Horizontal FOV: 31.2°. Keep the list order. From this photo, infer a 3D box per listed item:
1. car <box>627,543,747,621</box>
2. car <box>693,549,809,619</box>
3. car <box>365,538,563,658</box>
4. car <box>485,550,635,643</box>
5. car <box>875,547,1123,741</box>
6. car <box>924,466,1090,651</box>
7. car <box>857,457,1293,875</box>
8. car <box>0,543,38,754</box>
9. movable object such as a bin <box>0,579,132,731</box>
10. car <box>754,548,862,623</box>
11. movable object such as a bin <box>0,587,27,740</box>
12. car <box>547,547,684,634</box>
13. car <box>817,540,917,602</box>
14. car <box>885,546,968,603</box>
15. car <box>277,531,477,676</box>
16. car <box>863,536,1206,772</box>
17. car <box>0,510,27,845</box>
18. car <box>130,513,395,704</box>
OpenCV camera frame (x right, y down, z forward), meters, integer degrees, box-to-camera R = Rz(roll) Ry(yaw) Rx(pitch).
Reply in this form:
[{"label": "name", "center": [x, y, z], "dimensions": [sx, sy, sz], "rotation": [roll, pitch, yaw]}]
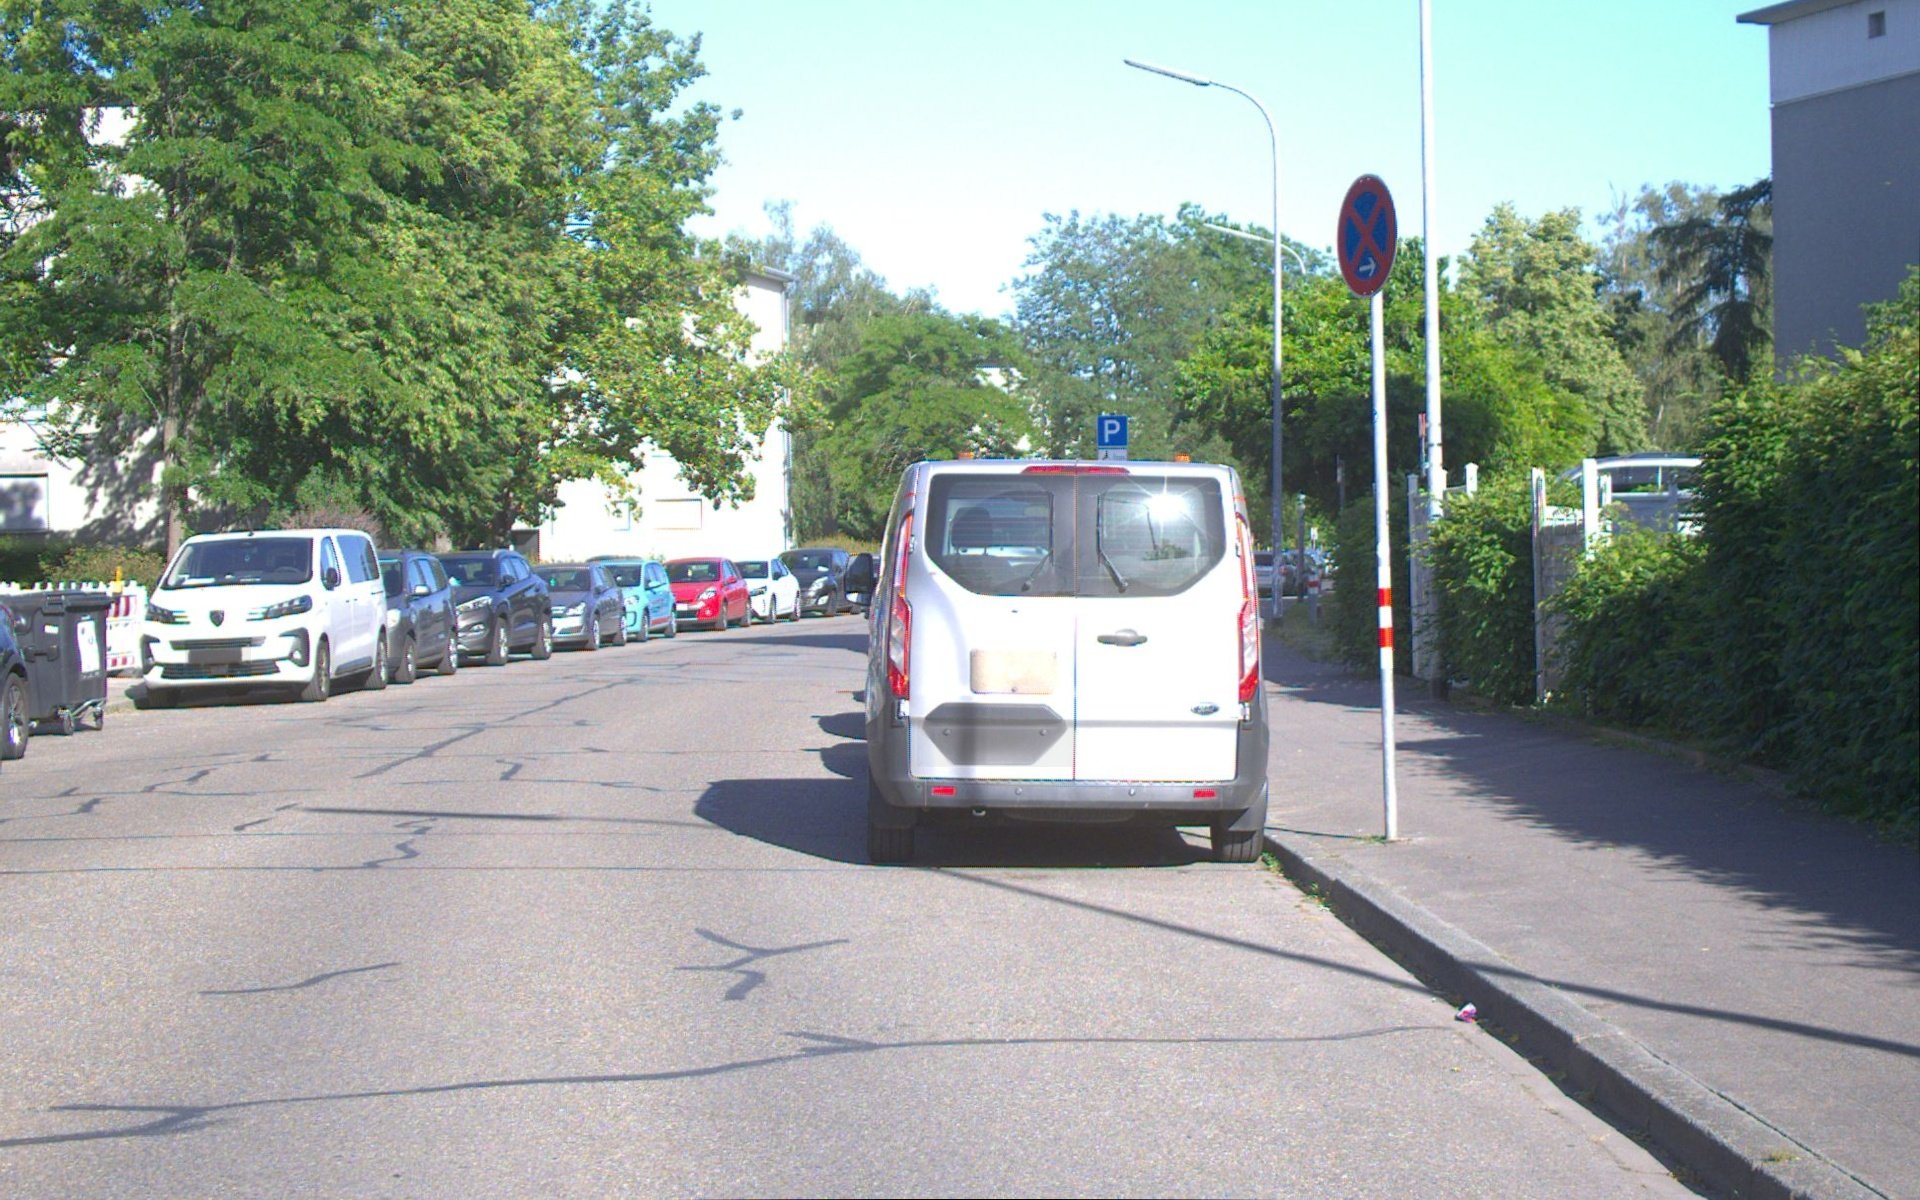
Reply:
[{"label": "car", "center": [-5.435, -0.378, 68.764], "dimensions": [1.671, 1.469, 3.677], "rotation": [-2, 1, 7]}, {"label": "car", "center": [-4.495, -0.368, 74.505], "dimensions": [1.671, 1.416, 3.900], "rotation": [-2, 1, 9]}, {"label": "car", "center": [-7.085, -0.066, 49.499], "dimensions": [1.748, 1.612, 4.362], "rotation": [-1, 1, 6]}, {"label": "car", "center": [-6.595, -0.079, 57.041], "dimensions": [1.670, 1.432, 3.999], "rotation": [-2, 1, 5]}, {"label": "car", "center": [0.319, 0.316, 28.957], "dimensions": [1.909, 1.483, 4.375], "rotation": [-1, 1, 0]}, {"label": "car", "center": [0.746, -0.606, 49.419], "dimensions": [2.105, 2.477, 5.855], "rotation": [1, 1, 3]}, {"label": "car", "center": [0.477, 0.273, 18.378], "dimensions": [1.993, 1.906, 4.954], "rotation": [-1, 1, -1]}, {"label": "car", "center": [-8.297, 0.429, 25.562], "dimensions": [1.674, 1.633, 4.251], "rotation": [-2, 1, 0]}, {"label": "movable object such as a bin", "center": [-8.191, 0.487, 31.350], "dimensions": [0.803, 1.311, 1.321], "rotation": [-1, 2, 7]}, {"label": "car", "center": [-3.564, -0.357, 81.295], "dimensions": [1.671, 1.661, 4.404], "rotation": [-2, 1, 9]}, {"label": "movable object such as a bin", "center": [-8.699, 0.563, 30.133], "dimensions": [0.609, 1.335, 1.269], "rotation": [-1, 1, 4]}, {"label": "car", "center": [-6.191, -0.196, 62.137], "dimensions": [1.671, 1.469, 3.677], "rotation": [-2, 1, 7]}, {"label": "car", "center": [-2.331, -0.753, 87.393], "dimensions": [1.661, 1.481, 4.051], "rotation": [-2, 1, 11]}, {"label": "car", "center": [-0.881, -0.706, 92.947], "dimensions": [1.660, 1.421, 4.048], "rotation": [-2, 1, 7]}, {"label": "car", "center": [-7.342, -0.004, 43.648], "dimensions": [1.556, 1.716, 4.340], "rotation": [-1, 1, 3]}, {"label": "car", "center": [0.390, 0.299, 23.532], "dimensions": [1.993, 1.412, 4.924], "rotation": [-1, 1, -3]}, {"label": "car", "center": [-6.051, 0.458, 15.814], "dimensions": [1.913, 1.699, 4.184], "rotation": [-2, 1, 7]}, {"label": "car", "center": [-7.646, 0.040, 38.122], "dimensions": [1.863, 1.954, 4.671], "rotation": [-1, 1, 1]}]
